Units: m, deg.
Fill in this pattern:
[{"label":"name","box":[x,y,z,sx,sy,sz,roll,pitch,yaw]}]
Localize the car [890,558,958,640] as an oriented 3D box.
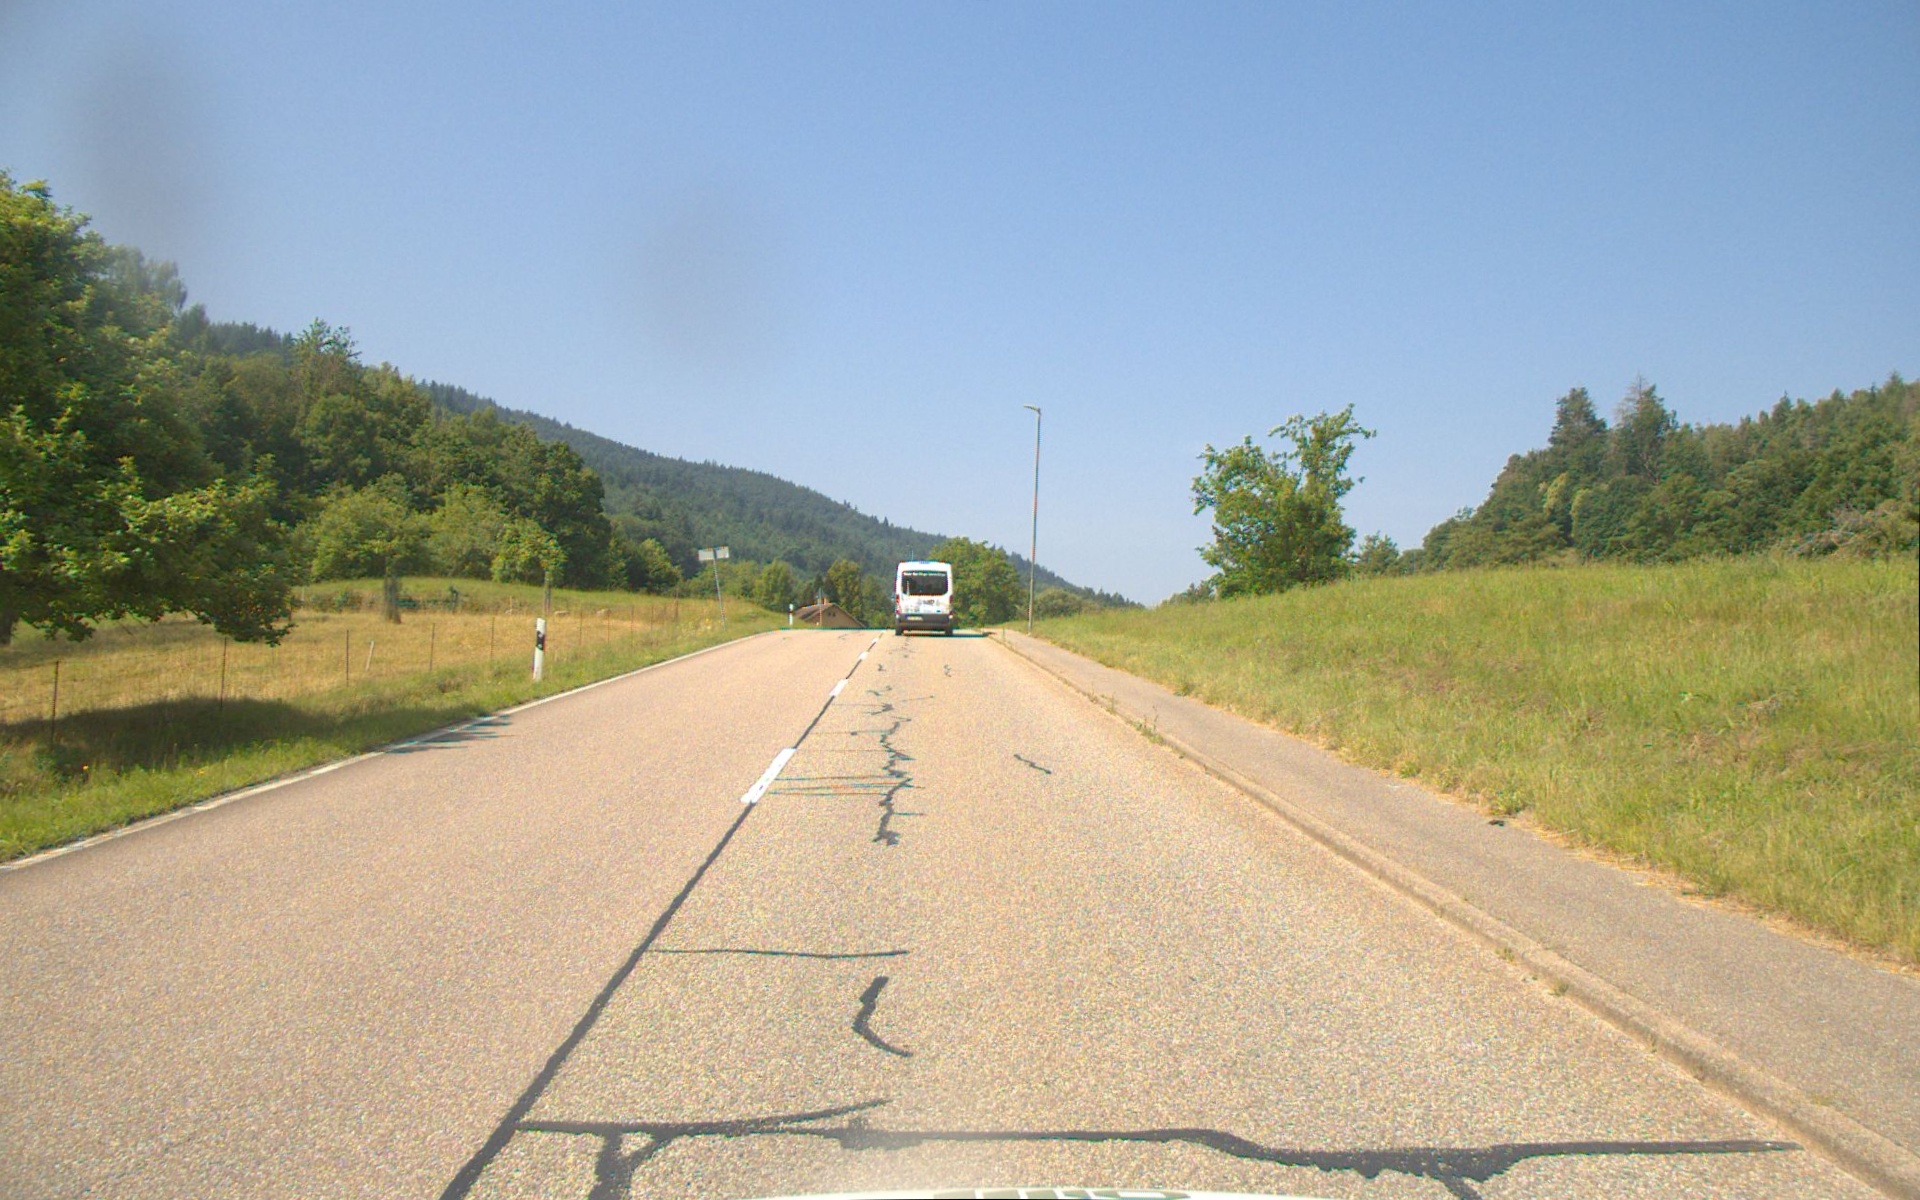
[{"label":"car","box":[-1.267,0.021,57.340,2.178,2.570,4.982,-2,-2,-2]}]
